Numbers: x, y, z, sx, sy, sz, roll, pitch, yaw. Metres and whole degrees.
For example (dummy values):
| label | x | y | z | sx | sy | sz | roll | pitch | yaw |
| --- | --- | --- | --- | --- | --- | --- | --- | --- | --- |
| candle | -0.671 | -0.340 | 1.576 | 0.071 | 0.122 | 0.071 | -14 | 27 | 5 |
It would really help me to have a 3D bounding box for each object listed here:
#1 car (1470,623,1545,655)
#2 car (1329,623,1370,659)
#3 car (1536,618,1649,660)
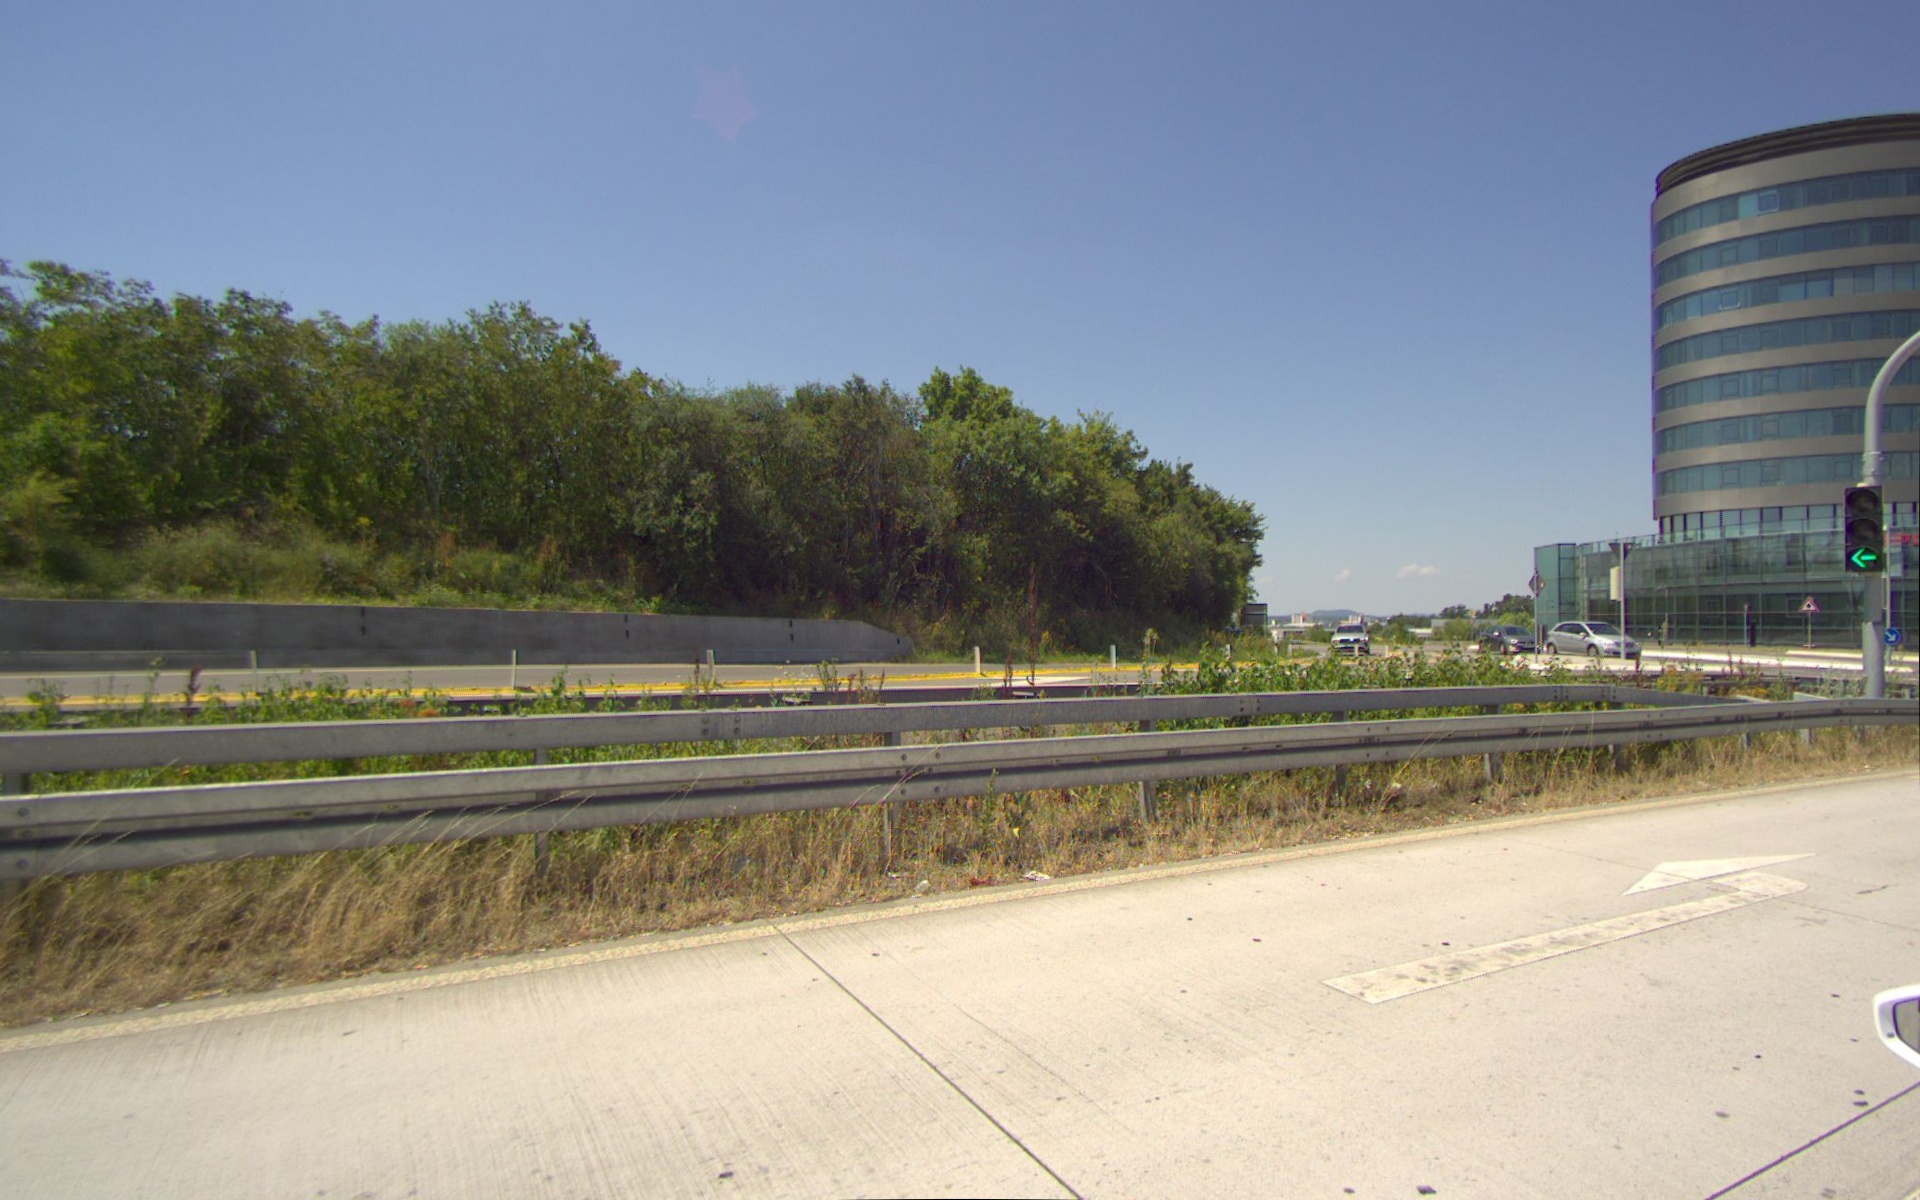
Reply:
| label | x | y | z | sx | sy | sz | roll | pitch | yaw |
| --- | --- | --- | --- | --- | --- | --- | --- | --- | --- |
| car | 27.054 | 1.950 | 49.773 | 1.663 | 1.475 | 4.333 | 2 | -2 | 5 |
| car | 21.344 | 2.207 | 55.091 | 1.961 | 1.796 | 4.857 | 1 | -1 | 21 |
| car | 26.430 | 1.634 | 42.140 | 1.743 | 1.616 | 4.327 | 2 | -2 | -5 |
